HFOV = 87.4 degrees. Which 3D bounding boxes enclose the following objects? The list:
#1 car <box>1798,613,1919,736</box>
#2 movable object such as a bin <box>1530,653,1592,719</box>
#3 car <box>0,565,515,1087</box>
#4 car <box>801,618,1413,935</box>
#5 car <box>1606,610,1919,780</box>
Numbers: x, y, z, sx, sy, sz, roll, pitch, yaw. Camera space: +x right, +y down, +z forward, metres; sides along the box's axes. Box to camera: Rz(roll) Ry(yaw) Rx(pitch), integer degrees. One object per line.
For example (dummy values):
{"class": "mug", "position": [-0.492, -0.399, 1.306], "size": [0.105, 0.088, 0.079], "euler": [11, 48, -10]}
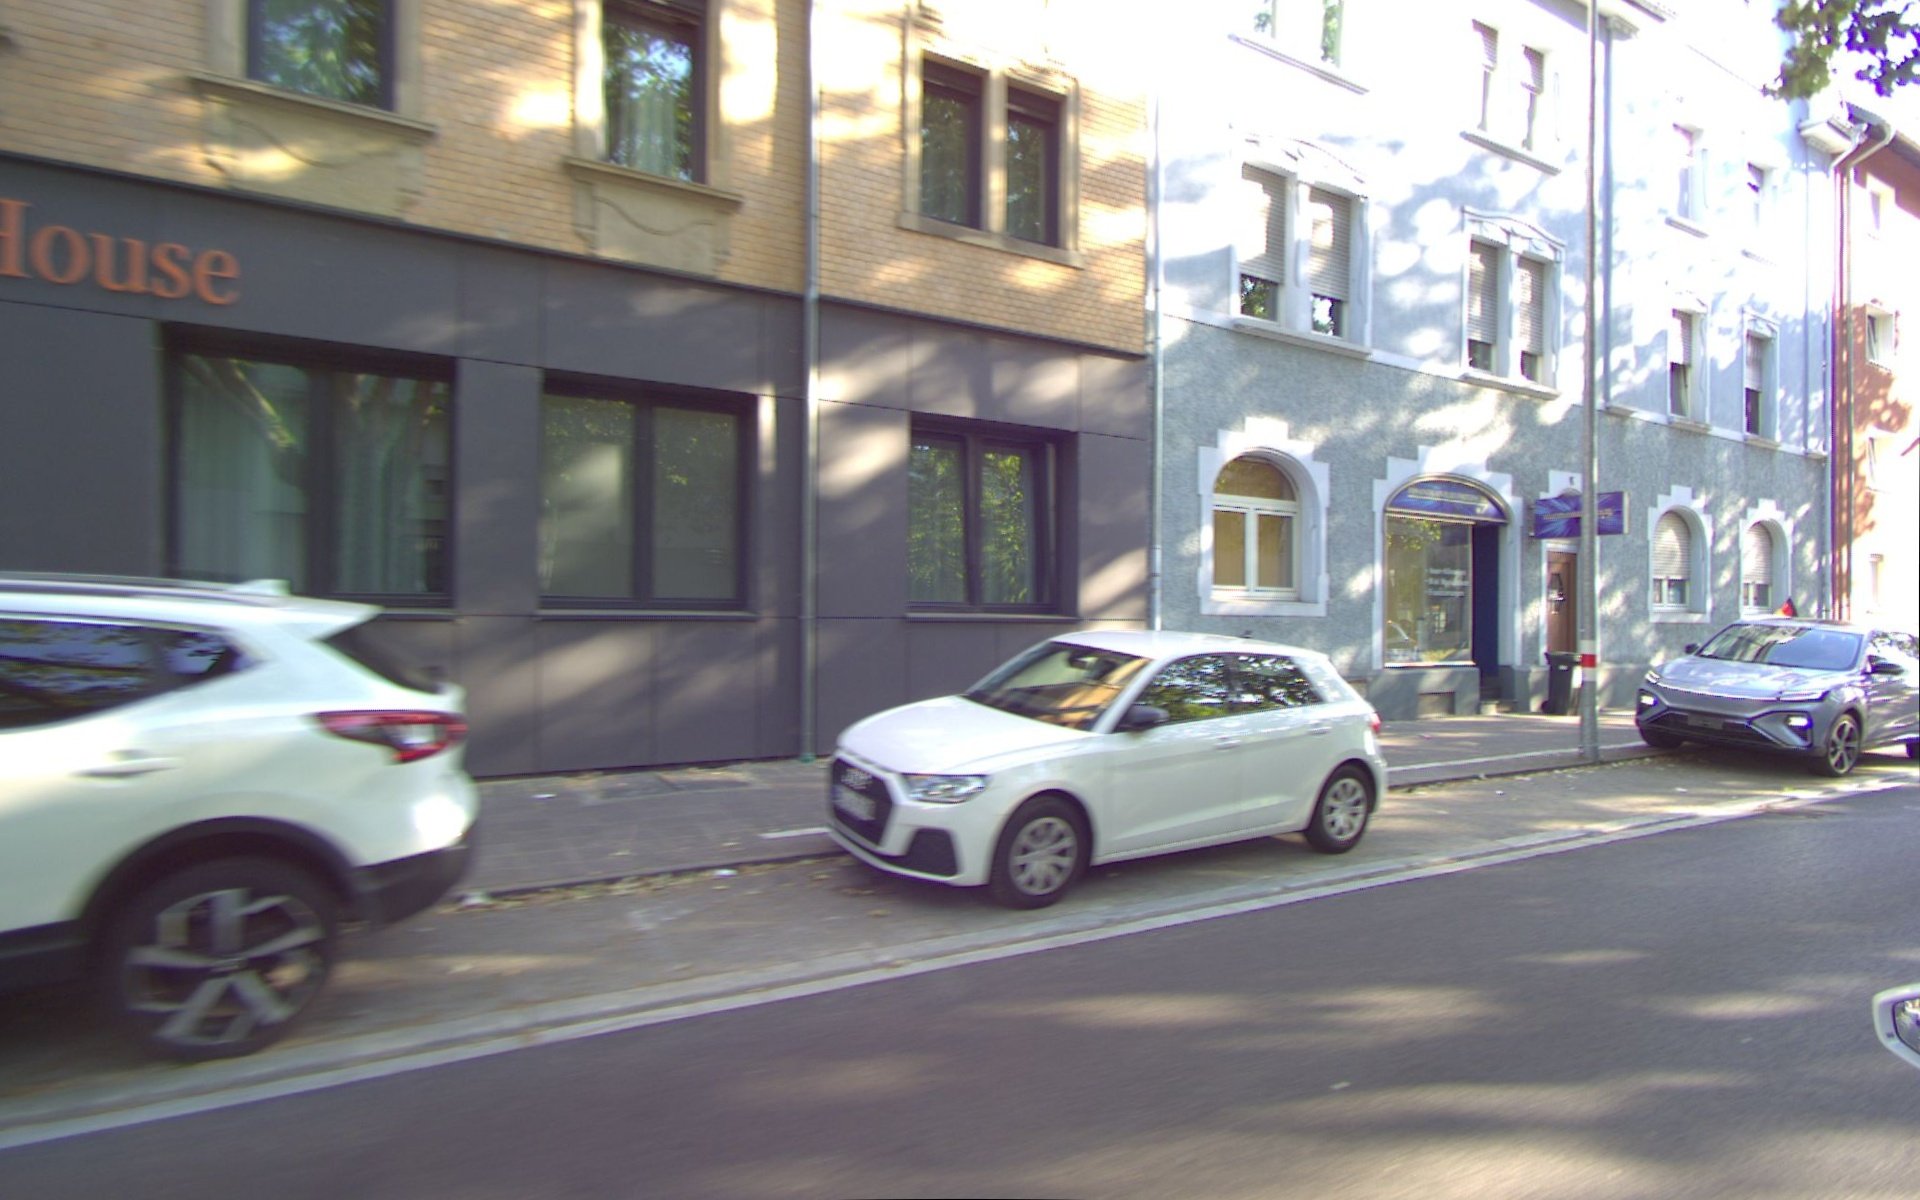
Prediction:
{"class": "car", "position": [14.694, 1.065, 15.321], "size": [3.937, 1.663, 1.670], "euler": [1, 0, -30]}
{"class": "movable object such as a bin", "position": [9.152, 1.296, 15.304], "size": [0.662, 0.959, 0.554], "euler": [1, -2, -30]}
{"class": "car", "position": [-3.894, 0.677, 3.497], "size": [4.150, 1.606, 1.670], "euler": [1, 0, -30]}
{"class": "car", "position": [1.055, 0.911, 6.668], "size": [3.827, 1.516, 1.669], "euler": [1, 0, -31]}
{"class": "car", "position": [9.962, 0.992, 12.003], "size": [4.522, 1.663, 1.899], "euler": [1, 0, -30]}
